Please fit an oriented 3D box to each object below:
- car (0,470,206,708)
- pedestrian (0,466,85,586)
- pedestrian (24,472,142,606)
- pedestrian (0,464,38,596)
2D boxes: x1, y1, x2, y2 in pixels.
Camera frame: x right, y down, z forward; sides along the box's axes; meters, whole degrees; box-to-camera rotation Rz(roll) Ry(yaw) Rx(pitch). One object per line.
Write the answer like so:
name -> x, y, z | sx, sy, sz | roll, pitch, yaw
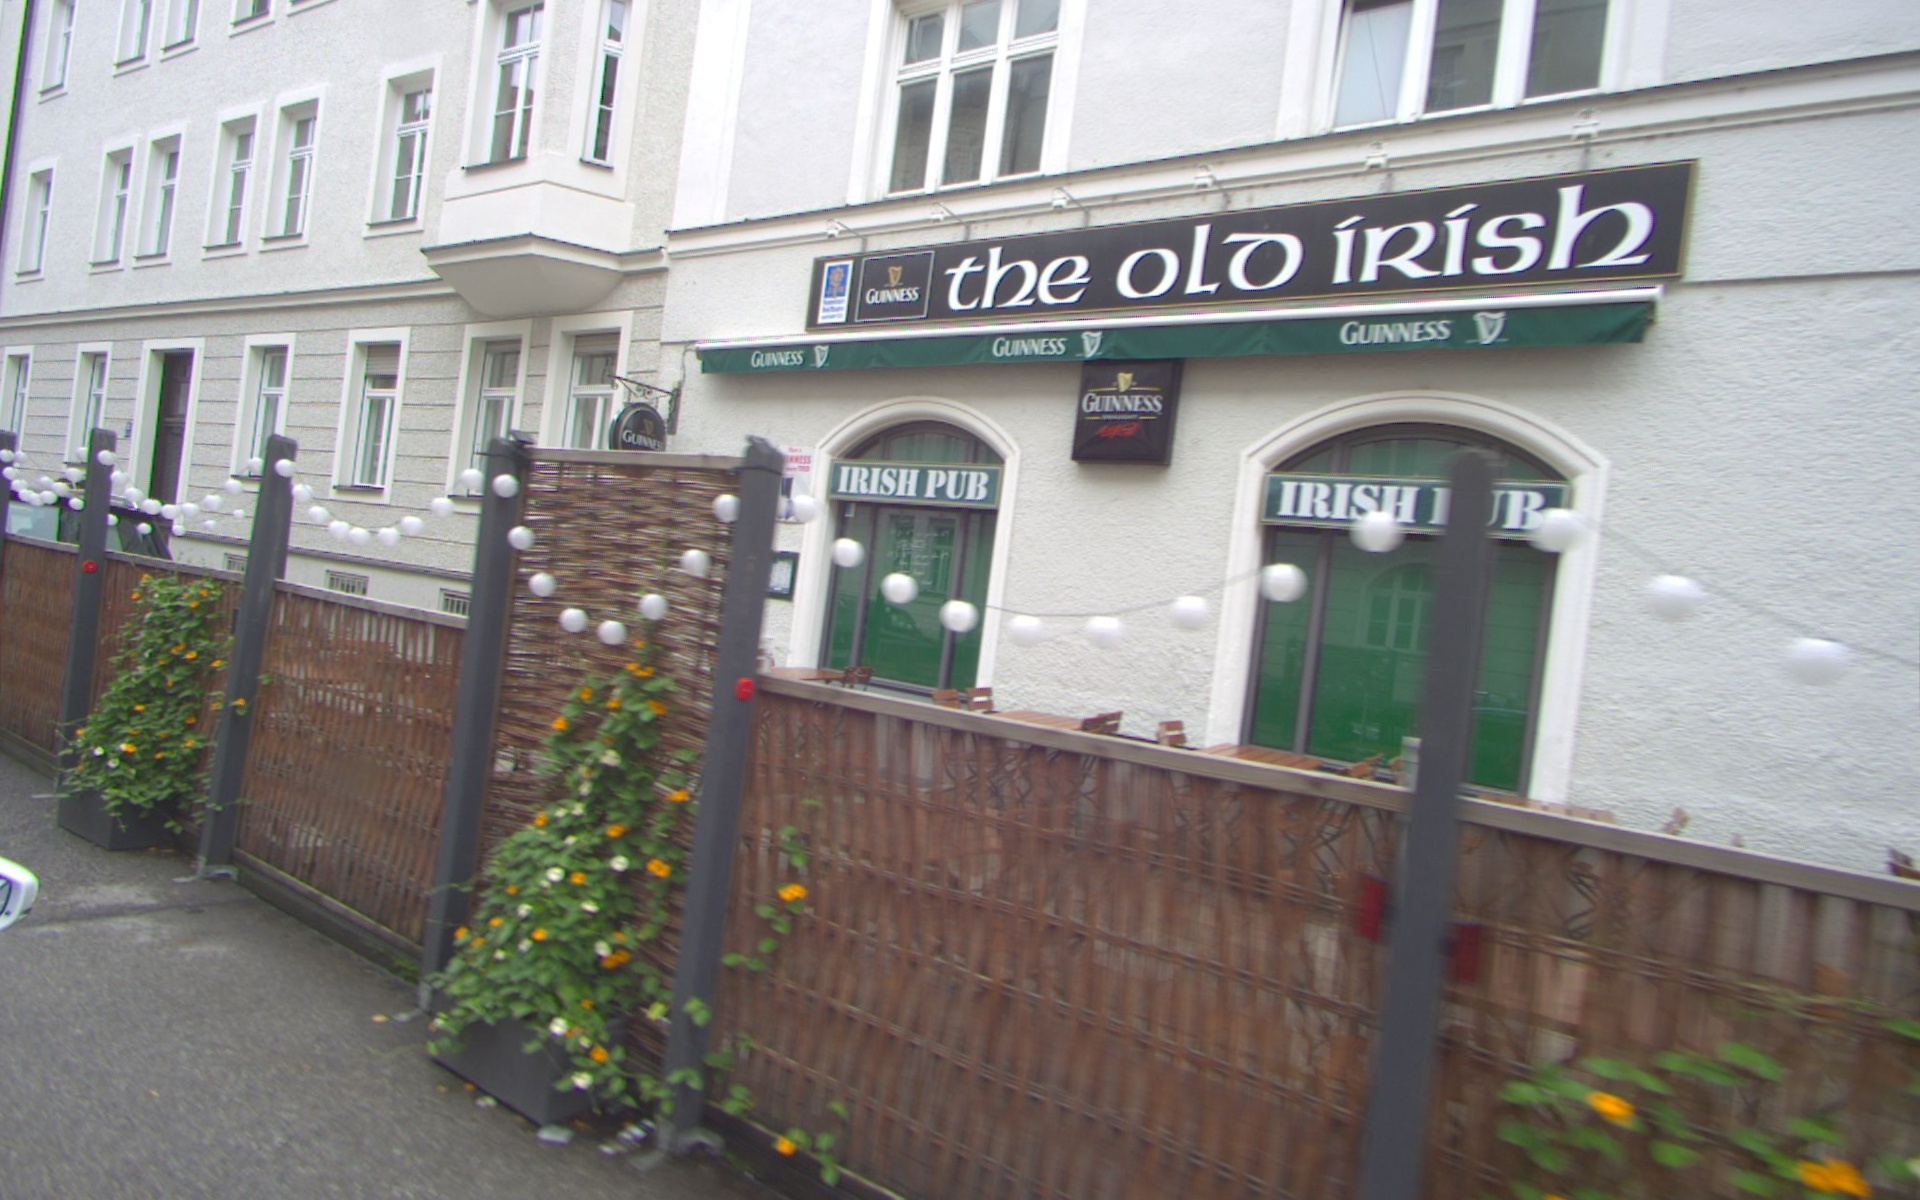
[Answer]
car -> -8.441, -0.273, 8.464 | 4.118, 1.695, 1.803 | 7, 0, 31
pedestrian -> -15.550, -1.245, 16.873 | 1.092, 1.835, 0.884 | 8, 1, 31
pedestrian -> -13.061, -0.908, 14.986 | 1.092, 1.808, 0.884 | 7, 0, 30
pedestrian -> -14.042, -1.059, 14.339 | 1.092, 1.834, 0.885 | 7, 0, 29
